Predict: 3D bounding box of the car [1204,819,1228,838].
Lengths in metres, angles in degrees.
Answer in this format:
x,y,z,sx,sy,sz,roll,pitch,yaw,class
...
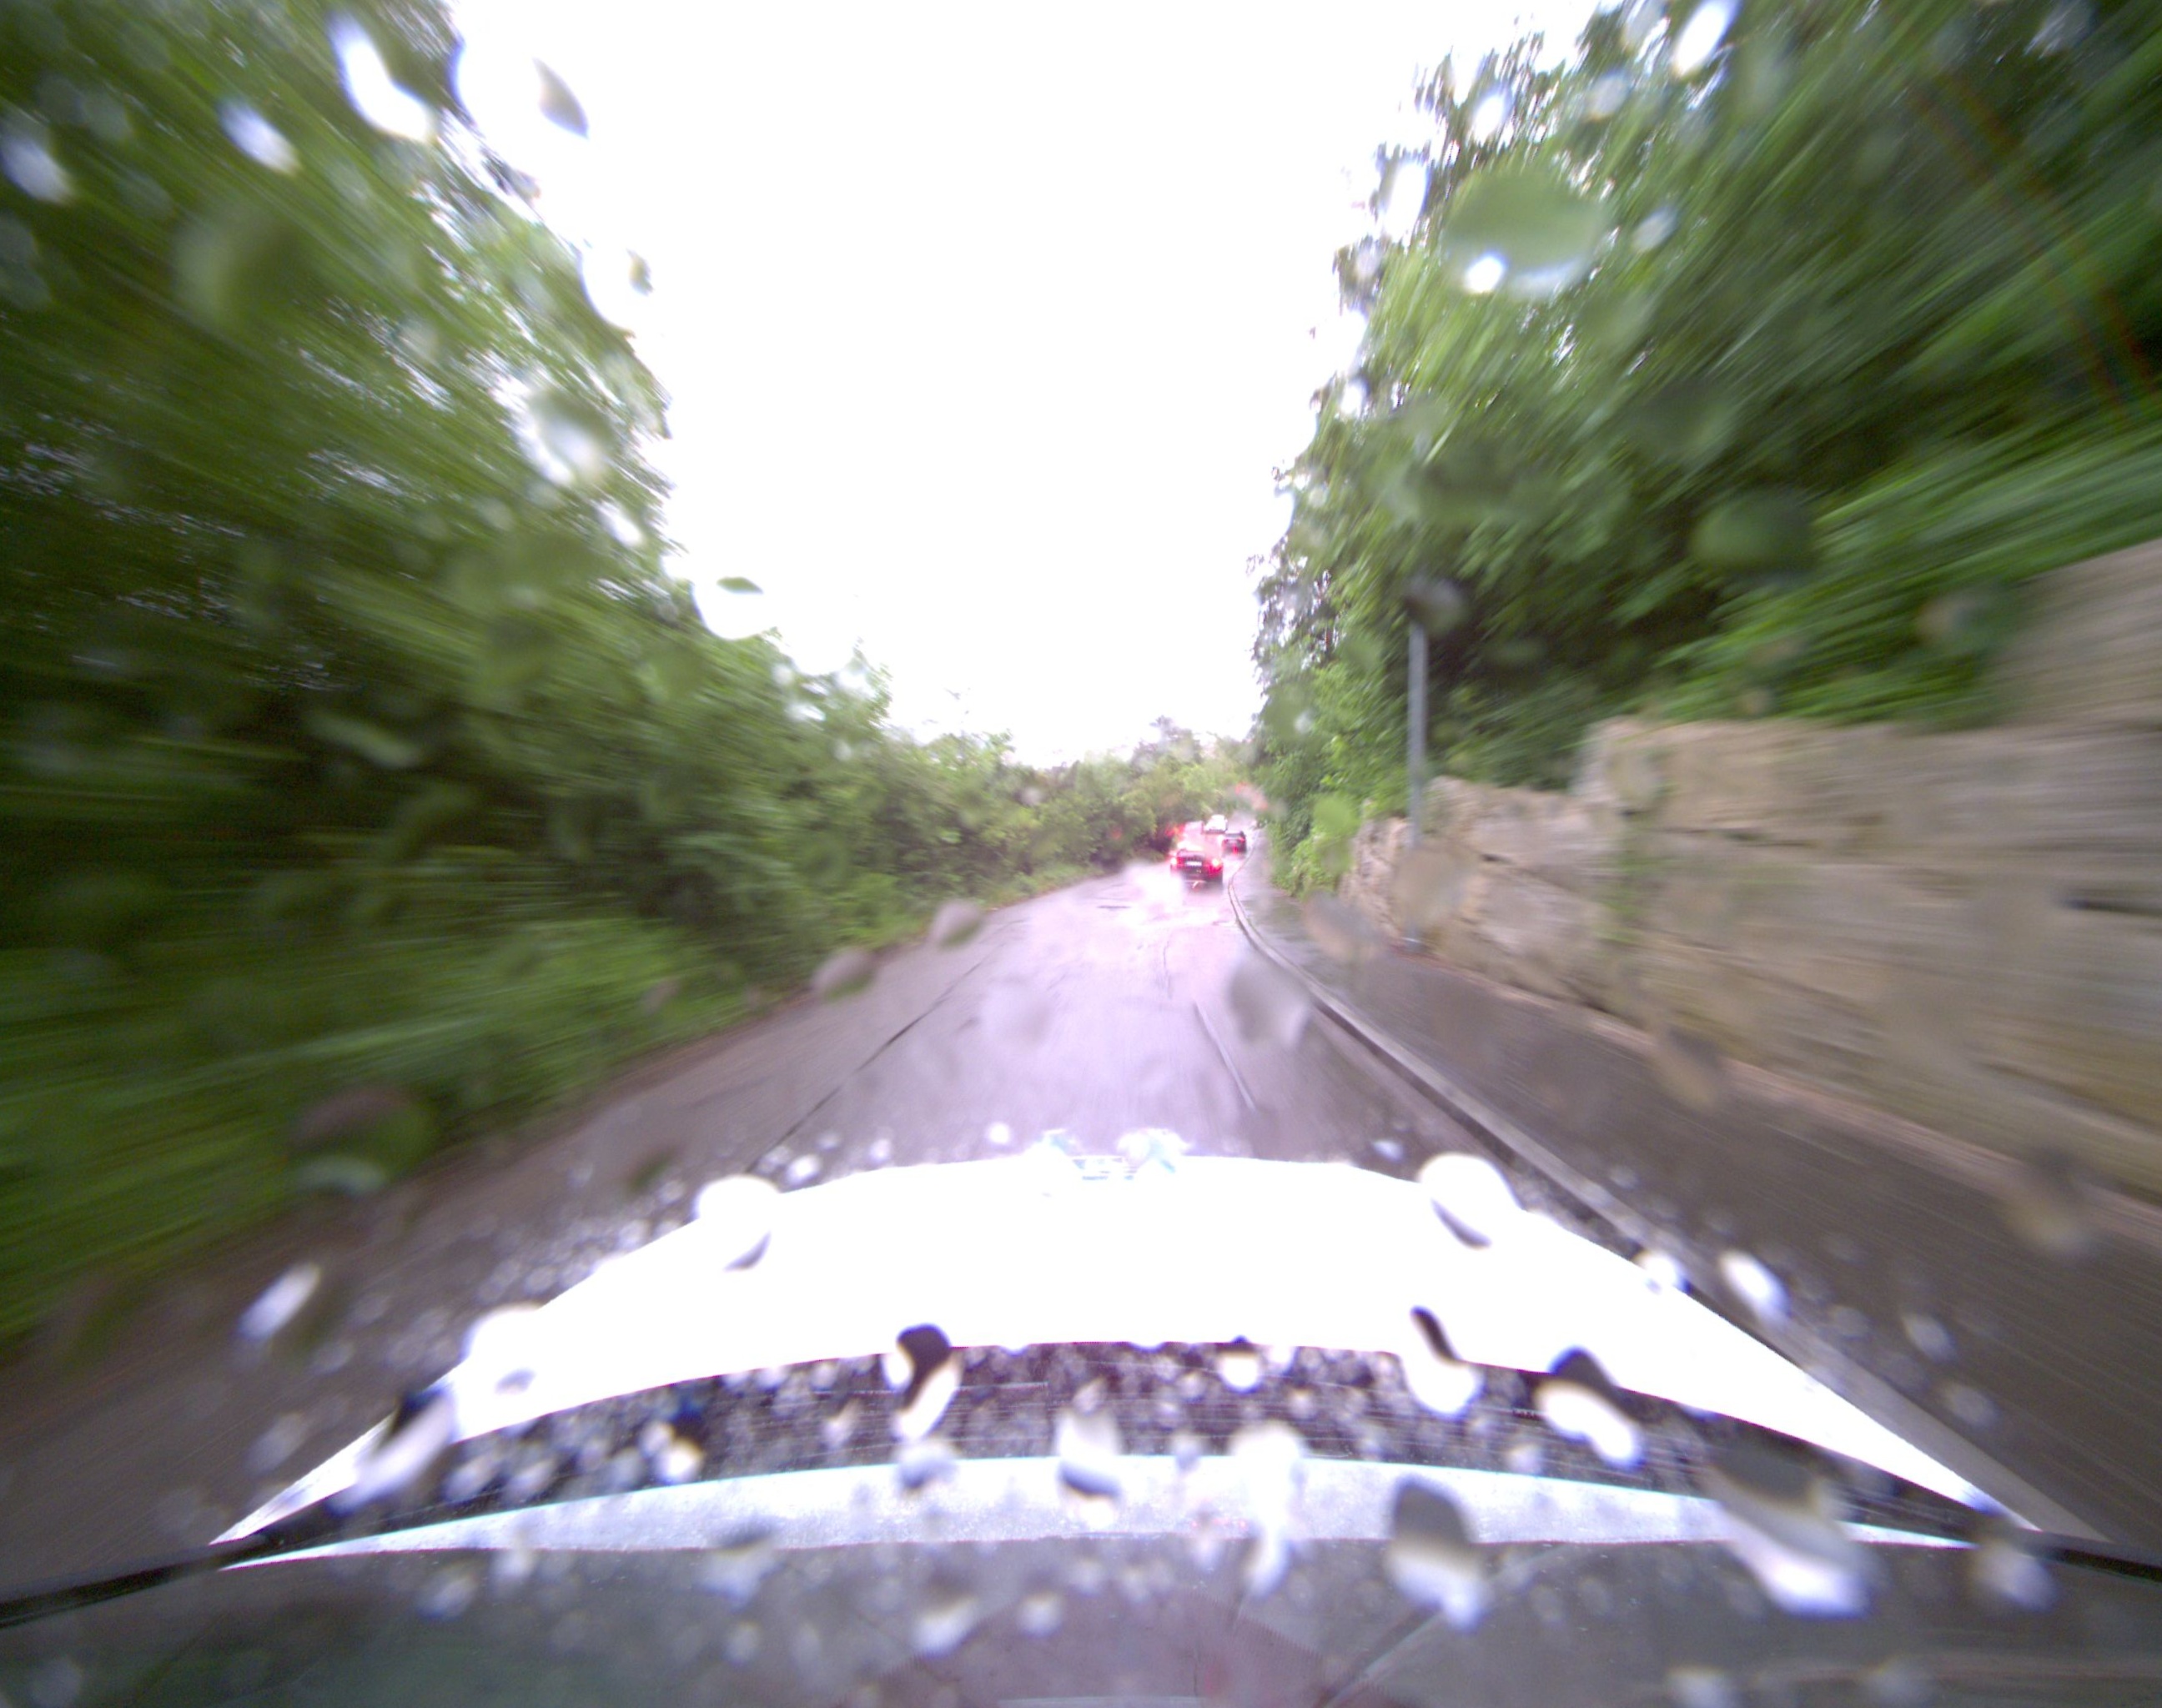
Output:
x,y,z,sx,sy,sz,roll,pitch,yaw,class
13.664,-2.641,82.356,2.034,1.600,4.246,2,6,13,car

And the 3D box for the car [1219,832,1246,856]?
x,y,z,sx,sy,sz,roll,pitch,yaw,class
11.573,-0.765,62.064,1.850,1.743,4.014,0,0,13,car

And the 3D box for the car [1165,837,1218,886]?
x,y,z,sx,sy,sz,roll,pitch,yaw,class
4.093,0.225,29.654,1.689,1.449,4.013,-1,4,10,car

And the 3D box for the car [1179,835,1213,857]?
x,y,z,sx,sy,sz,roll,pitch,yaw,class
8.458,-0.570,59.633,1.926,1.522,4.598,0,0,15,car

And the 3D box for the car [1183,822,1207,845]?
x,y,z,sx,sy,sz,roll,pitch,yaw,class
10.224,-1.883,72.842,1.677,1.782,4.251,-1,4,14,car
